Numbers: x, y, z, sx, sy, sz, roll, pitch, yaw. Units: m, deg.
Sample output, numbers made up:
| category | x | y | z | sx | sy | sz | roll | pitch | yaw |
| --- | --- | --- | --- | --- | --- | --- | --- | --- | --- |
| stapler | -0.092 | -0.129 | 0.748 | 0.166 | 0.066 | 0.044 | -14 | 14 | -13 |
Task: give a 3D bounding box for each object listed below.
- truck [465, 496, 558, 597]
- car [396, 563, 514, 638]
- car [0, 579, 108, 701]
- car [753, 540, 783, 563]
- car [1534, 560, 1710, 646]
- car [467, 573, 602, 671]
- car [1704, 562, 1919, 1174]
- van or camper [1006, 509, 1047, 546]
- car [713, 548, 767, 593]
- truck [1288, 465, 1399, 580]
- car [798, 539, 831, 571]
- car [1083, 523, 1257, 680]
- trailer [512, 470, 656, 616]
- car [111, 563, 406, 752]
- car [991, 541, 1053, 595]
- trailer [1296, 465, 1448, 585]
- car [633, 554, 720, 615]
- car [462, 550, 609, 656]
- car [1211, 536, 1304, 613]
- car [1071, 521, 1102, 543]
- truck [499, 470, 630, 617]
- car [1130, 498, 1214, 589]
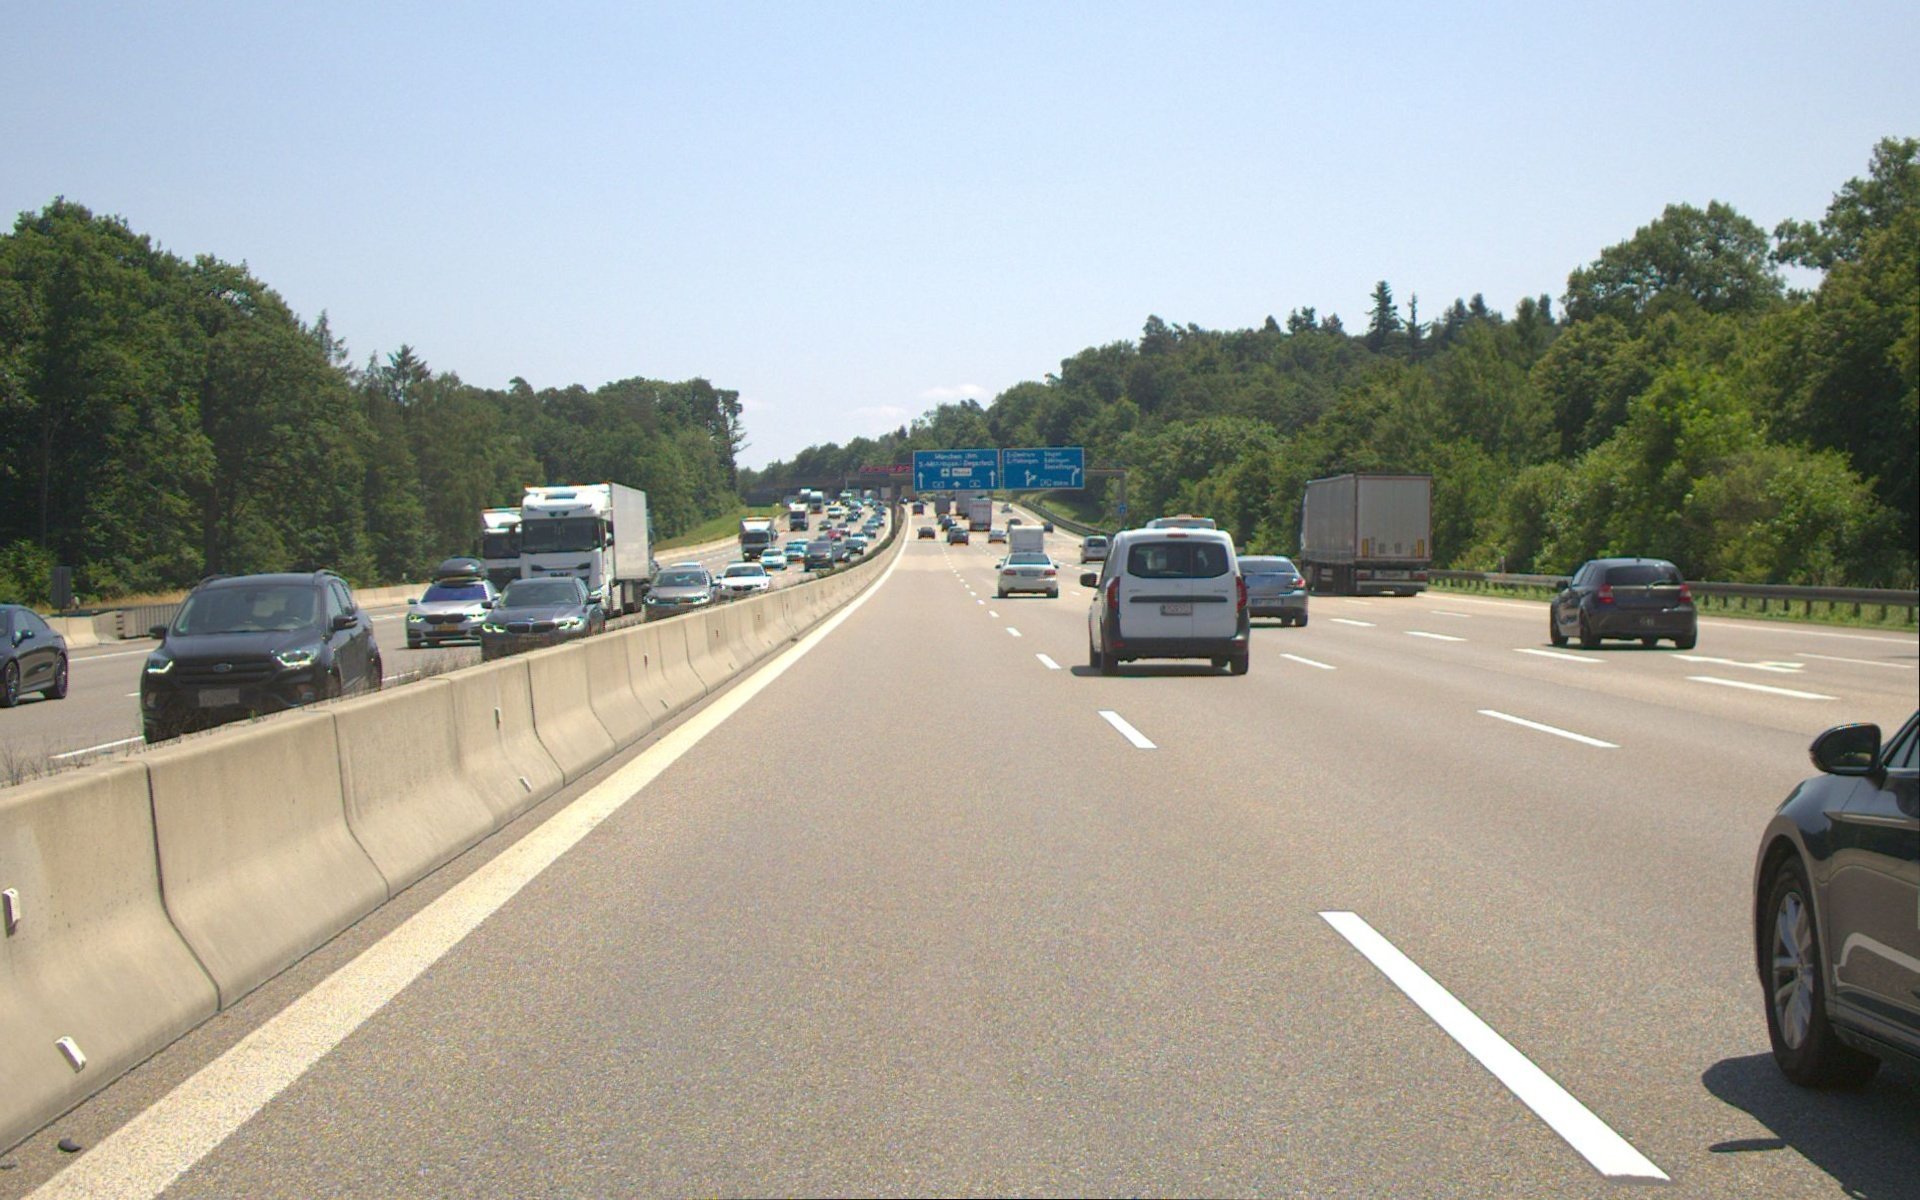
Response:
| category | x | y | z | sx | sy | sz | roll | pitch | yaw |
| --- | --- | --- | --- | --- | --- | --- | --- | --- | --- |
| truck | -19.477 | -2.326 | 149.806 | 2.834 | 4.183 | 10.597 | -2 | 1 | -2 |
| car | -11.198 | -0.010 | 76.515 | 1.993 | 1.482 | 5.019 | -3 | 1 | -2 |
| car | -14.035 | 0.550 | 49.939 | 1.993 | 1.615 | 5.755 | -2 | 1 | -2 |
| car | -13.142 | -3.332 | 235.517 | 1.760 | 1.459 | 4.840 | -1 | 1 | -1 |
| car | 10.357 | 0.017 | 54.078 | 1.670 | 1.269 | 4.291 | -1 | 1 | -4 |
| car | -7.250 | 0.345 | 58.962 | 1.870 | 1.542 | 4.592 | -2 | 1 | -2 |
| car | 3.159 | 0.654 | 8.120 | 1.729 | 1.442 | 4.961 | 0 | 1 | 0 |
| van or camper | 4.771 | -5.221 | 247.173 | 2.645 | 2.530 | 6.502 | -2 | 1 | -1 |
| car | -7.558 | -1.038 | 118.384 | 1.747 | 1.452 | 4.157 | -1 | 1 | -2 |
| truck | 13.953 | -2.855 | 125.530 | 3.254 | 4.092 | 5.988 | 0 | 2 | -1 |
| car | -9.326 | -2.906 | 221.039 | 1.898 | 1.947 | 5.657 | -2 | 1 | -1 |
| car | 2.594 | -0.027 | 43.473 | 1.860 | 1.819 | 4.612 | -2 | 1 | 0 |
| trailer | -11.780 | -1.821 | 109.098 | 3.023 | 4.210 | 14.468 | -2 | 1 | -1 |
| car | -7.014 | 0.502 | 34.992 | 1.993 | 1.657 | 5.755 | -2 | 1 | -2 |
| car | 1.983 | -1.045 | 110.717 | 1.843 | 1.623 | 4.553 | -2 | 1 | 0 |
| trailer | 14.115 | -2.671 | 118.983 | 3.287 | 3.917 | 13.892 | 0 | 2 | -1 |
| car | -7.392 | -0.437 | 90.093 | 1.993 | 1.482 | 5.136 | -2 | 1 | -2 |
| car | -7.243 | 0.009 | 59.118 | 1.993 | 1.657 | 4.972 | -2 | 1 | -2 |
| car | 6.068 | -0.531 | 70.425 | 1.503 | 1.495 | 3.650 | -2 | 1 | -1 |
| car | 8.325 | -4.451 | 226.075 | 1.835 | 1.333 | 3.643 | -2 | 1 | -1 |
| truck | -11.660 | -1.673 | 102.010 | 3.047 | 4.122 | 6.949 | -2 | 1 | -1 |
| car | 6.416 | -1.748 | 104.431 | 2.143 | 2.643 | 5.710 | 0 | 2 | 0 |
